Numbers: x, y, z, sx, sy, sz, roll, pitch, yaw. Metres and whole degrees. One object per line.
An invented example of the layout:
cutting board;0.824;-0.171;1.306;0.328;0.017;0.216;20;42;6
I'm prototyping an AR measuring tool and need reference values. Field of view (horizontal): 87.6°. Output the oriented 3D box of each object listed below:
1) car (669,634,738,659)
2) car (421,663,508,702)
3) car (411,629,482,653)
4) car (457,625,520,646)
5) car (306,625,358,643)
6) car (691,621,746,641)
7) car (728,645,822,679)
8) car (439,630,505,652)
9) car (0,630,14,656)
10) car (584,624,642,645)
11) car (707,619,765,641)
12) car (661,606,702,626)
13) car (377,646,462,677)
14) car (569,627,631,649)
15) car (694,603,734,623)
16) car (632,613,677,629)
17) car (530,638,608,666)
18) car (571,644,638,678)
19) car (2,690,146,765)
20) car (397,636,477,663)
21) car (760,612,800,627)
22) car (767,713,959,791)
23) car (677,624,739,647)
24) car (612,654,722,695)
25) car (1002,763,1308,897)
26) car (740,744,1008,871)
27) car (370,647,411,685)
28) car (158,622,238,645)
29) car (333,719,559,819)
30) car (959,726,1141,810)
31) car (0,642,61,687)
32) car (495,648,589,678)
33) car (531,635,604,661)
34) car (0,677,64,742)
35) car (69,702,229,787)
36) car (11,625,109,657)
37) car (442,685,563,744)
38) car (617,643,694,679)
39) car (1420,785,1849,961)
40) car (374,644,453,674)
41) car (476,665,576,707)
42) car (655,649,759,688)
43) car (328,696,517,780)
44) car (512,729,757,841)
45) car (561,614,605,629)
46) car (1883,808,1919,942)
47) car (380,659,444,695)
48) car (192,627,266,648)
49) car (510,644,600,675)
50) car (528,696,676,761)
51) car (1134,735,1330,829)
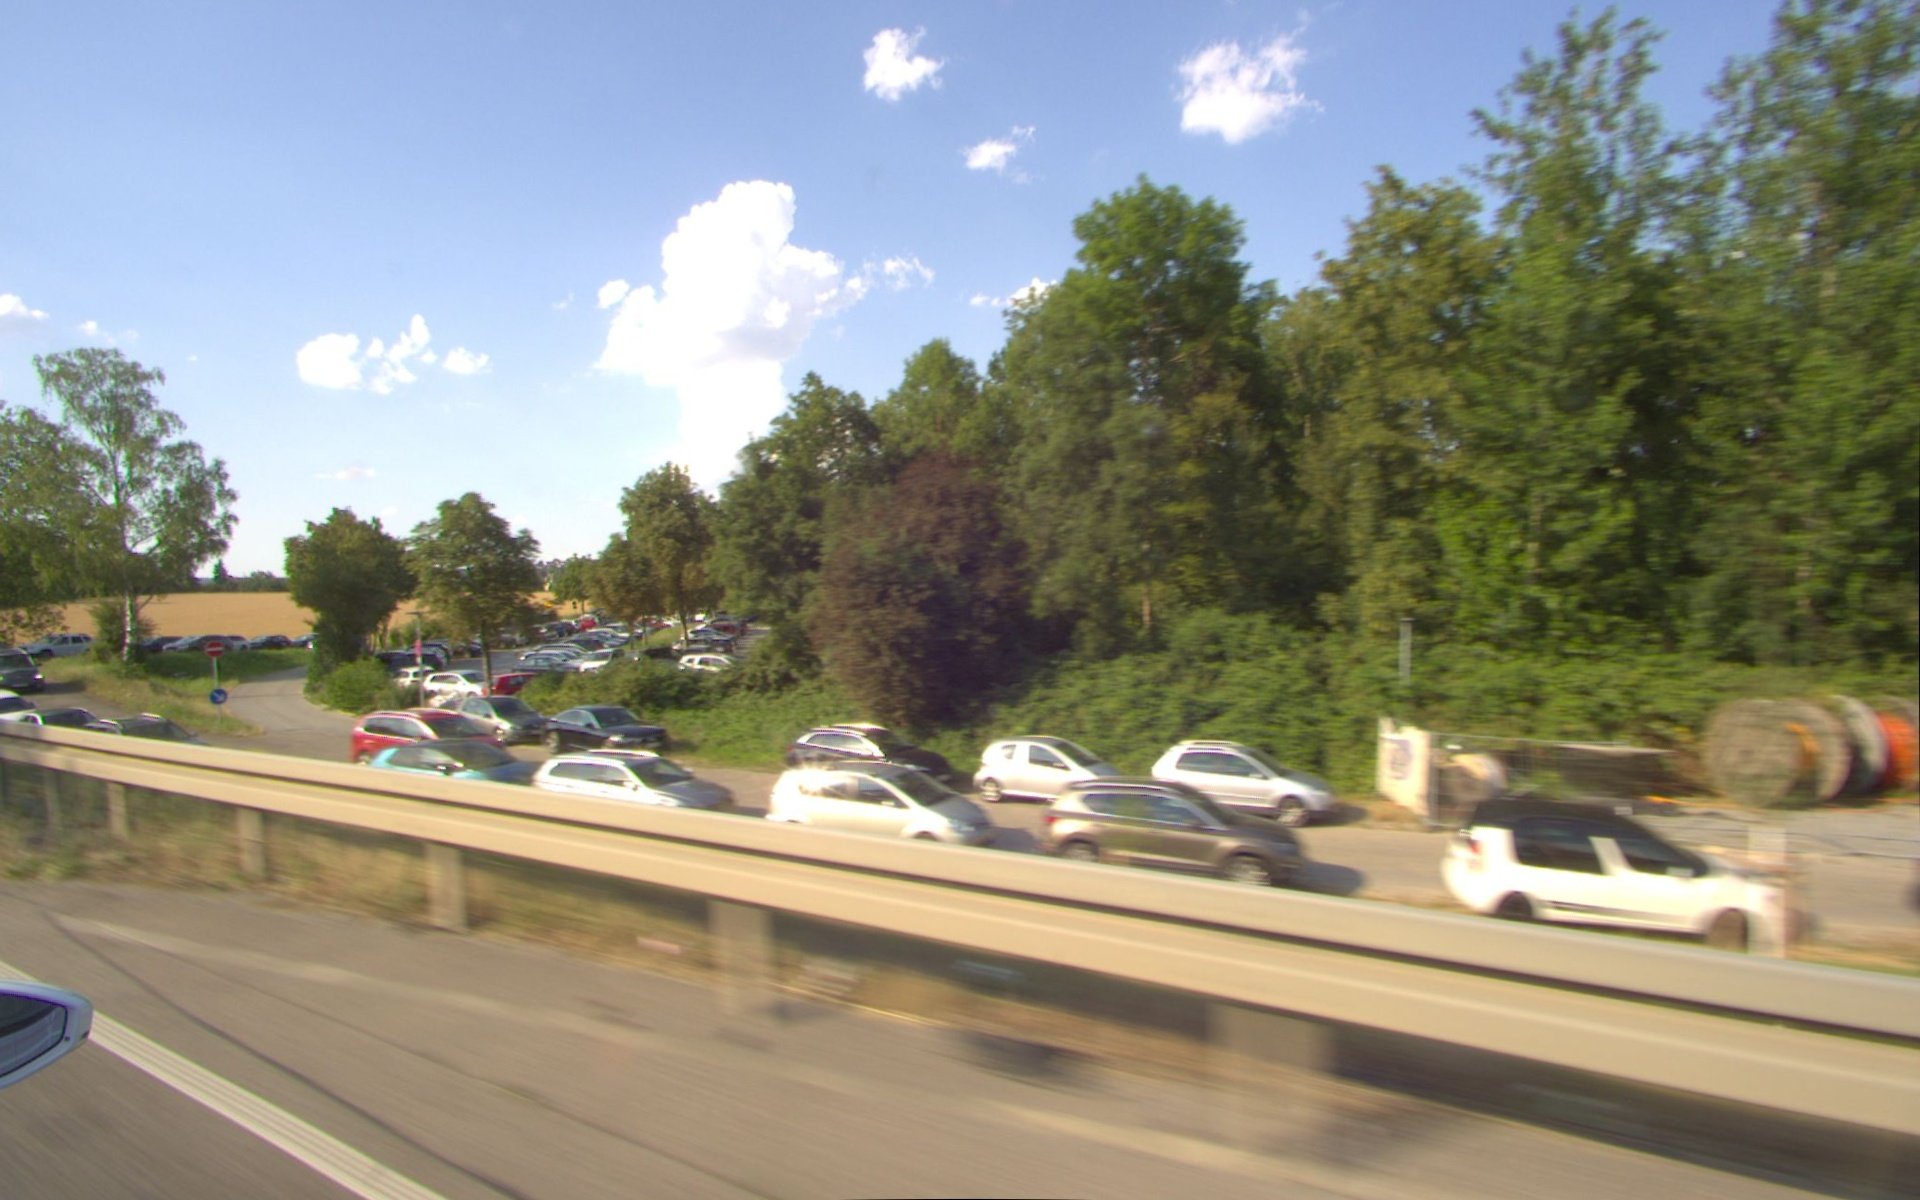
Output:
car;-18.361;3.309;71.771;4.507;1.713;1.803;0;0;-2
car;-23.331;3.848;47.086;3.940;1.563;1.795;-1;0;30
car;-39.490;3.163;77.059;4.510;1.713;1.802;0;0;-9
car;-40.437;3.026;86.006;4.510;1.713;1.802;0;0;-9
car;-51.856;2.815;82.760;1.776;1.459;3.935;1;-2;2
car;-21.460;2.752;89.207;4.507;1.713;1.803;0;0;-2
car;-9.770;3.253;53.019;4.508;1.713;1.803;0;0;9
car;-40.139;3.364;82.446;4.510;1.713;1.802;0;0;-9
car;-55.707;2.418;55.992;1.777;1.459;3.730;0;-2;12
car;-30.032;2.964;86.692;4.510;1.713;1.802;0;0;-9
car;-18.669;2.483;83.600;4.507;1.713;1.803;0;0;-2
car;-36.111;2.038;130.185;2.455;2.339;6.072;-2;0;13
car;-33.221;3.767;61.663;4.530;1.713;1.794;0;0;-30
car;-29.482;3.068;82.034;4.510;1.713;1.802;0;0;-9
car;-31.363;1.650;127.793;2.292;2.273;5.658;-2;0;19
car;-33.672;2.259;110.592;4.510;1.713;1.802;0;0;-9
car;-25.939;3.442;66.580;4.510;1.713;1.802;0;0;-9
car;-19.913;3.411;56.321;1.623;1.693;4.147;0;0;12
car;-26.573;3.747;30.006;4.712;1.581;1.887;1;4;32
car;-35.762;3.388;68.557;4.510;1.713;1.802;0;0;-9
car;-21.602;2.343;119.951;4.515;1.713;1.800;0;0;-17
car;-2.503;3.811;25.530;4.712;1.418;1.698;-1;3;29
car;-20.189;2.854;80.409;4.507;1.713;1.803;0;0;-2
car;-13.294;3.367;45.540;4.512;1.713;1.801;0;0;15
car;3.239;3.683;16.565;4.699;1.577;1.897;1;-5;21
car;-1.624;3.802;18.854;4.700;1.580;1.893;1;1;22
car;-32.069;3.647;56.324;1.779;1.866;4.569;0;0;-32
car;-51.402;2.289;67.665;1.776;1.459;4.593;1;-2;1
car;-11.690;3.768;22.792;4.699;1.581;1.892;0;3;21
car;2.096;3.860;23.394;3.882;1.418;1.699;-1;3;26
car;-39.860;2.680;42.224;4.718;1.697;1.886;-1;0;35
car;-23.423;3.511;56.178;4.507;1.563;1.803;0;0;6
car;-27.763;3.409;70.999;4.510;1.713;1.802;0;0;-9
car;-31.587;3.549;32.896;4.712;1.581;1.887;1;4;32
car;-22.129;3.849;27.274;4.712;1.581;1.887;1;4;32
car;-54.917;2.463;61.201;1.777;1.771;4.214;0;1;10
car;-15.505;3.823;33.884;4.039;1.418;1.697;1;4;31
car;-16.751;3.321;55.248;1.788;1.776;4.137;0;0;24
car;9.333;3.780;14.378;4.695;1.581;1.893;0;4;17
car;-35.927;3.849;65.912;4.530;1.713;1.794;0;0;-30
car;-19.216;3.786;44.447;1.636;1.563;3.743;0;0;43
car;-12.161;3.256;48.214;4.512;1.713;1.801;0;0;15
car;-14.801;3.718;27.560;5.001;1.710;1.892;1;2;24
car;-6.793;3.763;20.914;4.700;1.581;1.892;0;4;22
car;-43.040;2.471;114.386;4.510;1.713;1.802;0;0;-9
car;14.869;3.735;12.348;4.695;1.581;1.893;0;4;17
car;-27.825;3.876;50.809;4.247;1.506;1.678;0;0;45
car;-54.185;2.750;74.316;1.961;1.526;4.645;0;-1;2
car;-23.544;3.458;58.311;4.507;1.713;1.803;0;0;6
car;-10.970;3.859;30.571;4.718;1.418;1.696;-1;3;33
car;5.901;3.871;21.703;3.880;1.530;1.701;-1;0;24
